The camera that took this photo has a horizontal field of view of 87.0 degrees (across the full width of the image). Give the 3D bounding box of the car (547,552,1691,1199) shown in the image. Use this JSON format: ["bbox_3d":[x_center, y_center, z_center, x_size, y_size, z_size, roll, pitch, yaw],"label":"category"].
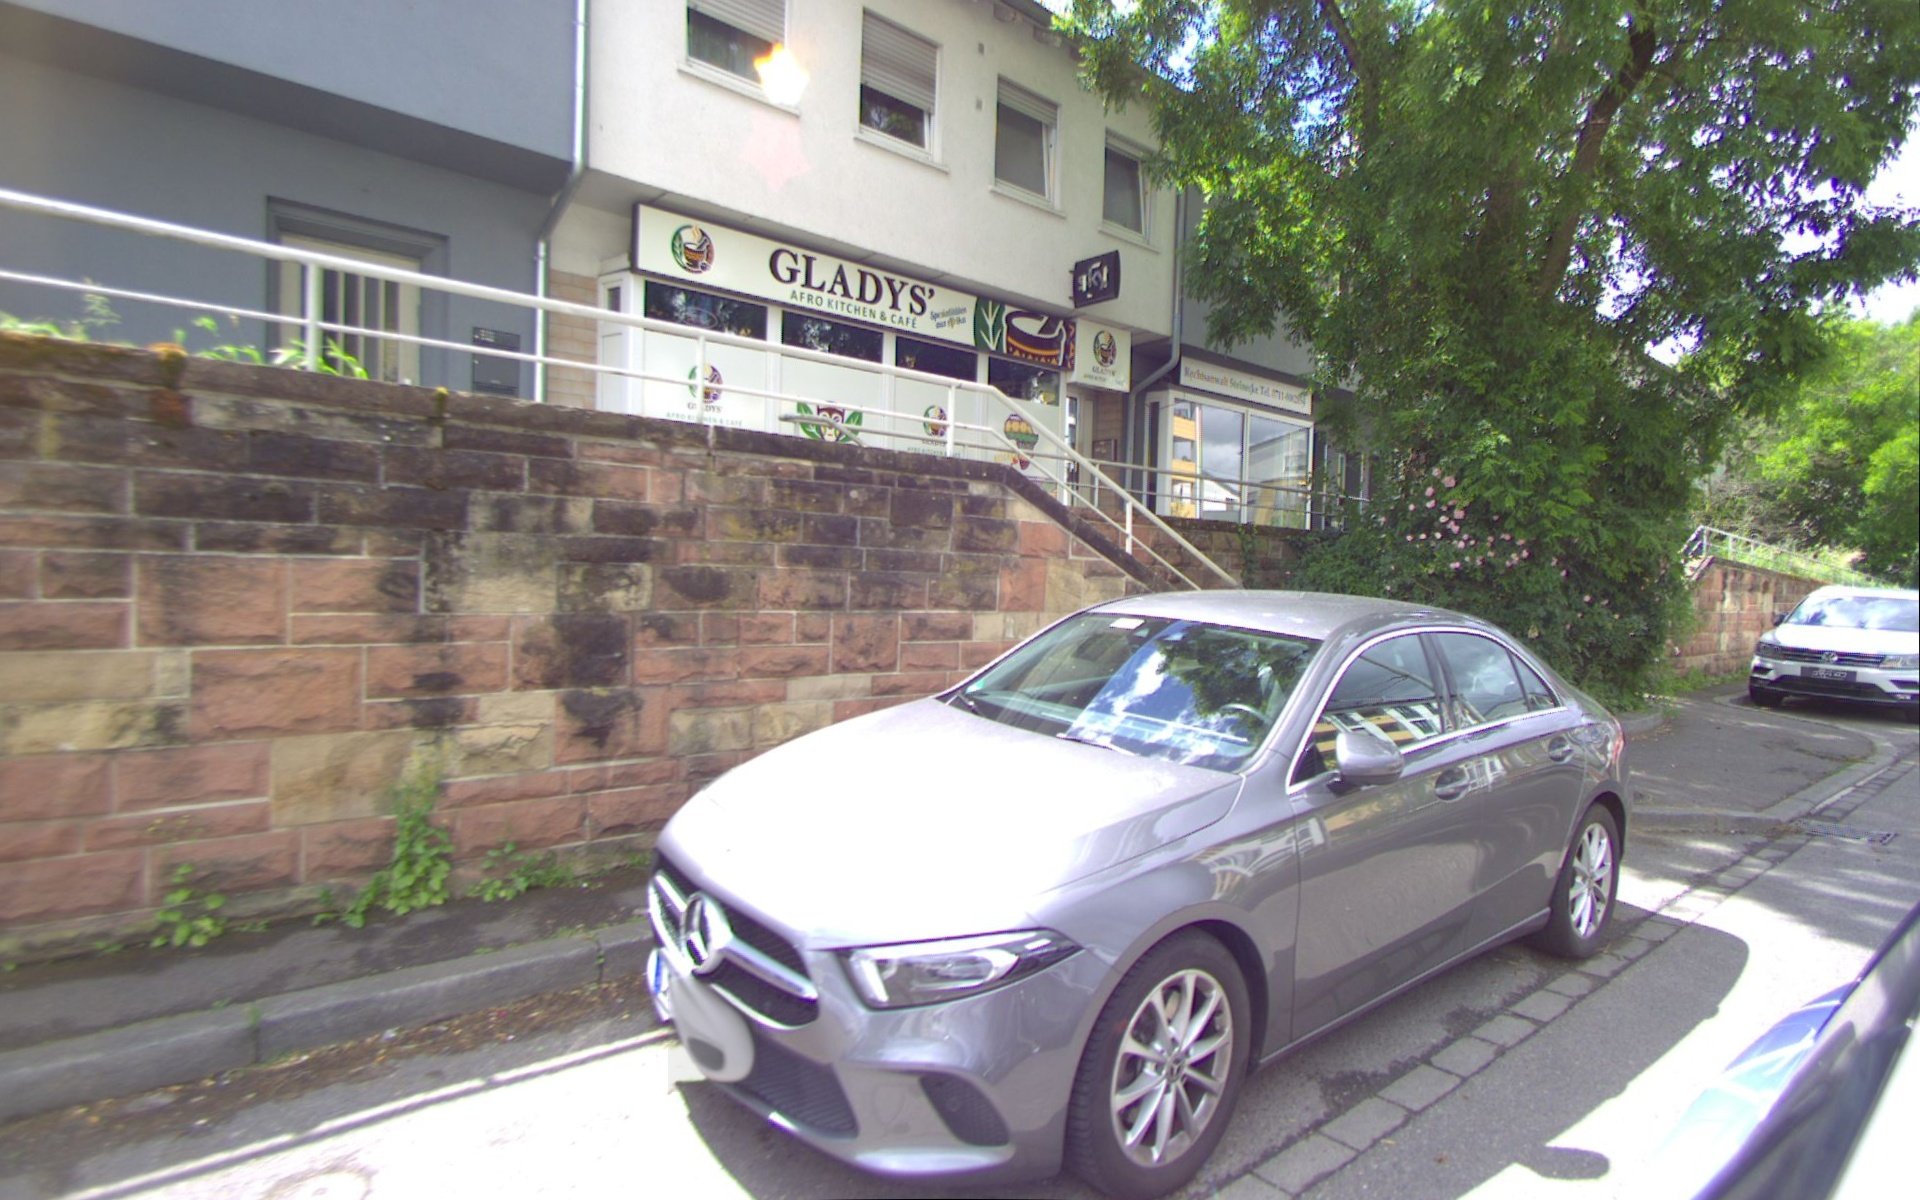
[{"bbox_3d":[0.957,0.625,3.854,4.333,1.422,1.841,1,2,-39],"label":"car"}]

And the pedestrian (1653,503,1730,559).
[{"bbox_3d":[11.143,-1.031,15.423,0.693,0.800,0.796,1,1,-41],"label":"pedestrian"}]

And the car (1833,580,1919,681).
[{"bbox_3d":[16.137,0.488,17.149,3.415,1.571,1.584,1,1,-42],"label":"car"}]

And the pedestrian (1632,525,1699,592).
[{"bbox_3d":[10.538,-0.620,15.117,0.605,0.956,0.643,1,3,-41],"label":"pedestrian"}]

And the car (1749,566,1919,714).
[{"bbox_3d":[12.584,0.472,13.780,4.491,1.702,1.829,1,2,-38],"label":"car"}]

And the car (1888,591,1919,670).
[{"bbox_3d":[19.976,0.614,20.217,3.754,1.508,1.648,1,1,-41],"label":"car"}]
